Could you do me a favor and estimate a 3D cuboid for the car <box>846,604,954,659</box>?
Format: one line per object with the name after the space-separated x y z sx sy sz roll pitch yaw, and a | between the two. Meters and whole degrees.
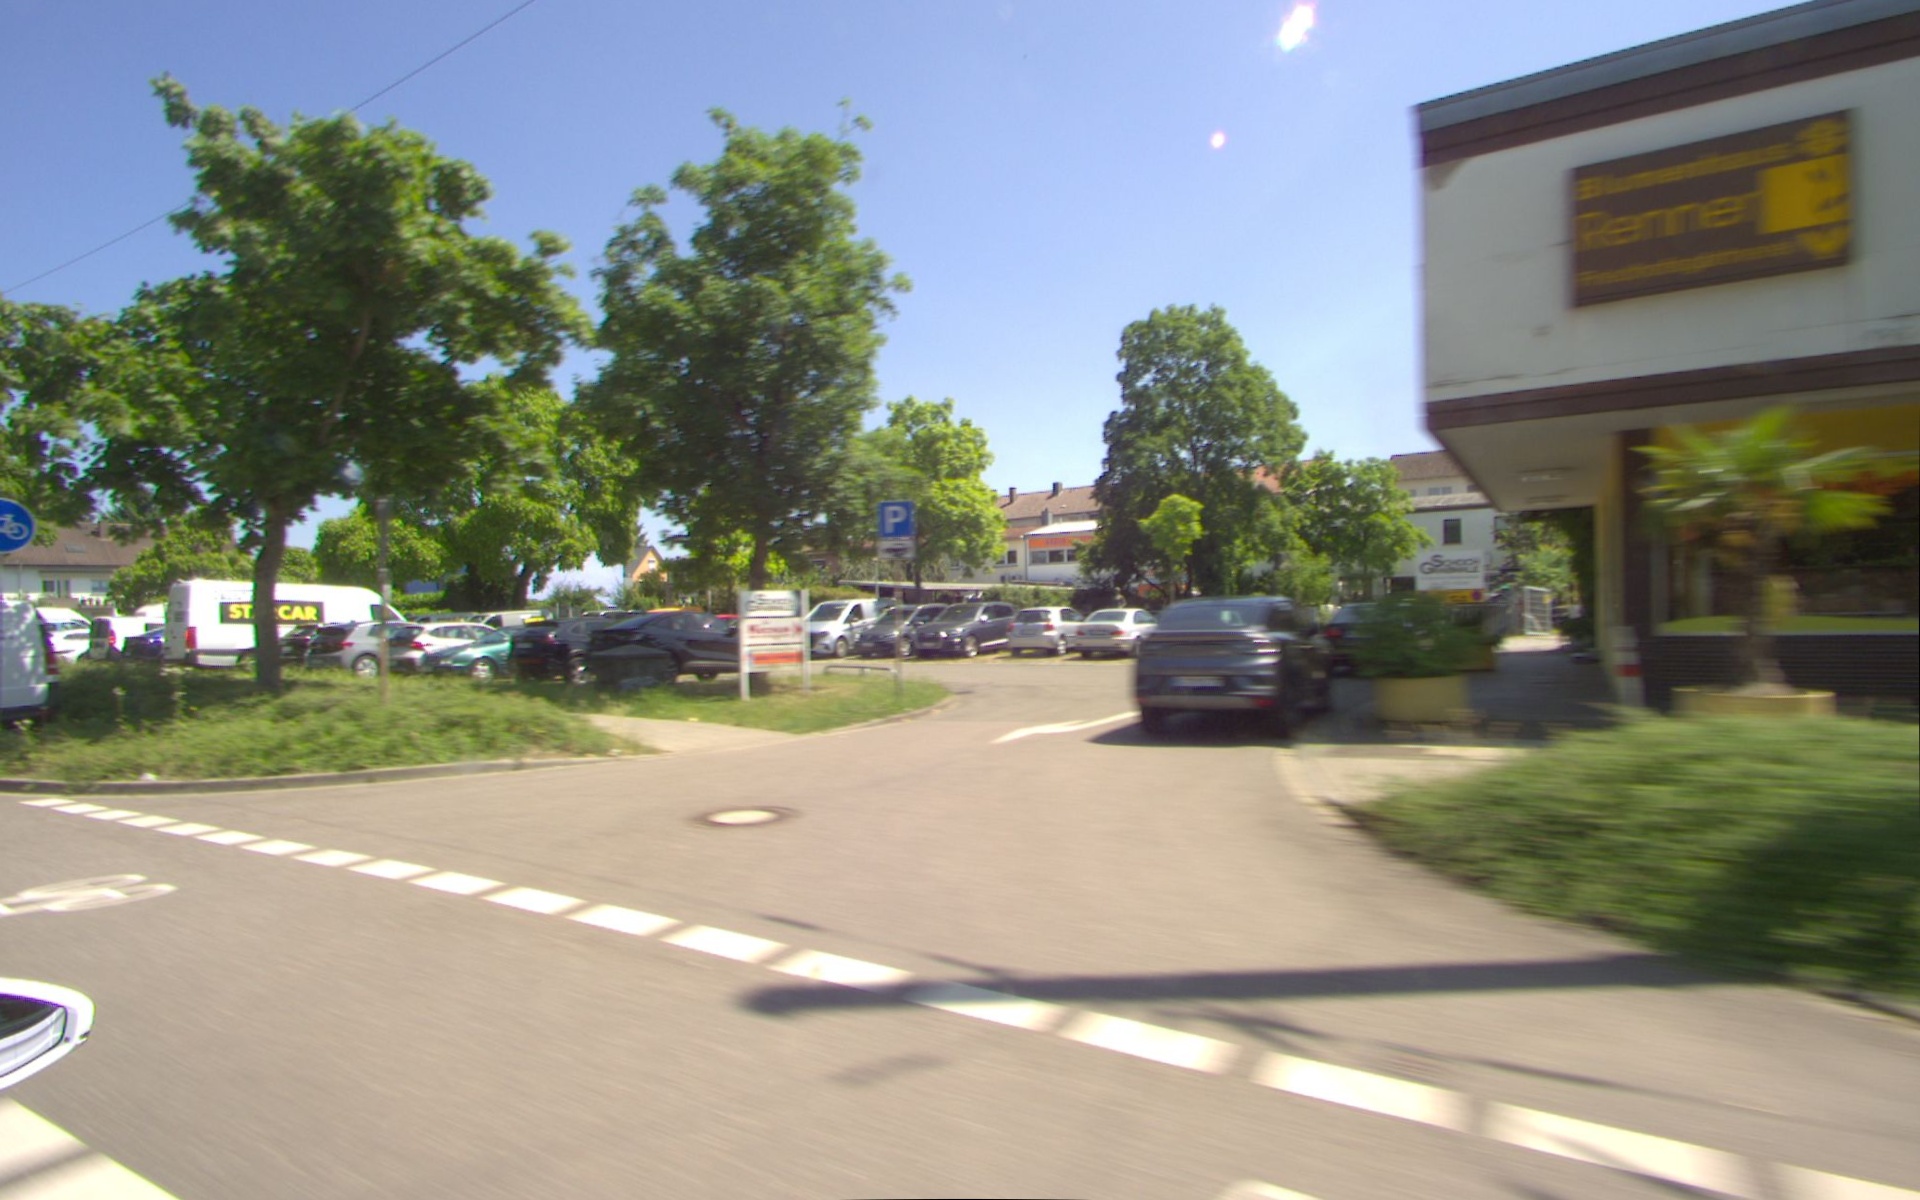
-1.949 1.007 33.748 1.609 1.626 3.970 -1 1 32 | car

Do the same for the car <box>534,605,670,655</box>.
-14.871 1.206 41.876 2.065 1.776 5.141 -1 1 32 | car

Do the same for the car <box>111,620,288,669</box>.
-25.748 1.520 34.096 1.924 1.524 4.404 -1 -3 29 | car

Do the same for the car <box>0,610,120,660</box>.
-37.336 1.443 40.754 1.924 1.933 4.406 -1 -3 27 | car

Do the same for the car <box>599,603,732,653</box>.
-11.981 1.102 41.083 2.065 1.776 5.141 -1 1 32 | car

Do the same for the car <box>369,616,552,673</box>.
-12.594 1.132 25.472 1.702 1.341 3.882 -1 -3 31 | car

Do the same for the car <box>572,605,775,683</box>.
-6.008 0.947 21.484 1.654 1.509 4.195 -1 -3 31 | car

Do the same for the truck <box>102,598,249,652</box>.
-50.028 1.542 64.060 2.389 3.126 6.933 -1 1 31 | truck

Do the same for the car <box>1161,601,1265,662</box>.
7.022 0.820 27.503 1.609 1.456 3.970 -1 1 32 | car

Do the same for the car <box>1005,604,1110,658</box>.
3.086 0.918 31.120 1.609 1.463 3.970 -1 1 32 | car

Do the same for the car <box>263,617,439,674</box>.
-16.977 1.277 28.113 1.702 1.490 3.884 -1 -3 29 | car

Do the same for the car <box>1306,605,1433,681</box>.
8.453 0.811 20.465 1.724 1.392 4.130 -1 -1 32 | car

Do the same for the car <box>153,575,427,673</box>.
-19.470 0.782 29.519 2.233 2.560 6.327 -1 -3 34 | car

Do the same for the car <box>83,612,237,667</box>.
-28.056 1.394 35.223 1.924 1.806 3.779 -1 -3 27 | car

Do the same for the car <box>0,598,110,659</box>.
-39.800 1.241 42.386 2.065 2.490 5.482 -1 -3 32 | car

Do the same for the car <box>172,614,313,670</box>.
-23.421 1.382 32.792 1.703 1.739 3.367 -1 -3 32 | car

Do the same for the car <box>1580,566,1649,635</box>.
24.716 0.045 37.948 1.971 2.445 5.063 -1 0 31 | car

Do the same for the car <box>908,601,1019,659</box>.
0.177 0.897 31.842 1.645 1.622 3.970 -1 1 32 | car

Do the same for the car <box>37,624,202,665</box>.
-30.562 1.623 36.549 1.702 1.423 4.274 -1 -3 29 | car

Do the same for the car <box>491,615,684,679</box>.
-8.276 1.056 22.582 1.702 1.297 3.882 -1 -3 31 | car

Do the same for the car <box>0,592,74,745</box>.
-14.550 0.944 13.989 5.052 1.943 1.874 -1 2 33 | car

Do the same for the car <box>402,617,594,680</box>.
-10.838 1.147 23.750 1.702 1.341 3.882 -1 -3 31 | car

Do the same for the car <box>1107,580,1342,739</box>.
3.465 0.638 12.518 1.915 1.632 4.135 -1 -1 28 | car

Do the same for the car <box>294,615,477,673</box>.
-14.946 1.149 26.274 1.700 1.397 3.888 -1 -3 26 | car

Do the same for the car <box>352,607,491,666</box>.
-25.642 1.695 47.929 2.065 2.492 5.477 -1 1 32 | car

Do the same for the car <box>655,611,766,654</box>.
-9.782 1.265 39.595 1.609 1.456 4.300 -1 1 32 | car

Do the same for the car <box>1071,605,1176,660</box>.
4.850 0.916 29.321 1.609 1.388 3.970 -1 1 32 | car

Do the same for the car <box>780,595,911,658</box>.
-3.861 0.867 34.783 1.881 1.926 4.907 -1 1 31 | car

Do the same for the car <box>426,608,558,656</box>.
-21.189 1.390 45.589 2.065 1.901 5.084 -1 1 32 | car

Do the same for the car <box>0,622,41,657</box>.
-46.313 1.834 46.744 1.927 1.665 4.685 -1 -3 32 | car

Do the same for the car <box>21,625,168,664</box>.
-32.882 1.705 38.154 1.702 1.423 3.884 -1 -3 29 | car
